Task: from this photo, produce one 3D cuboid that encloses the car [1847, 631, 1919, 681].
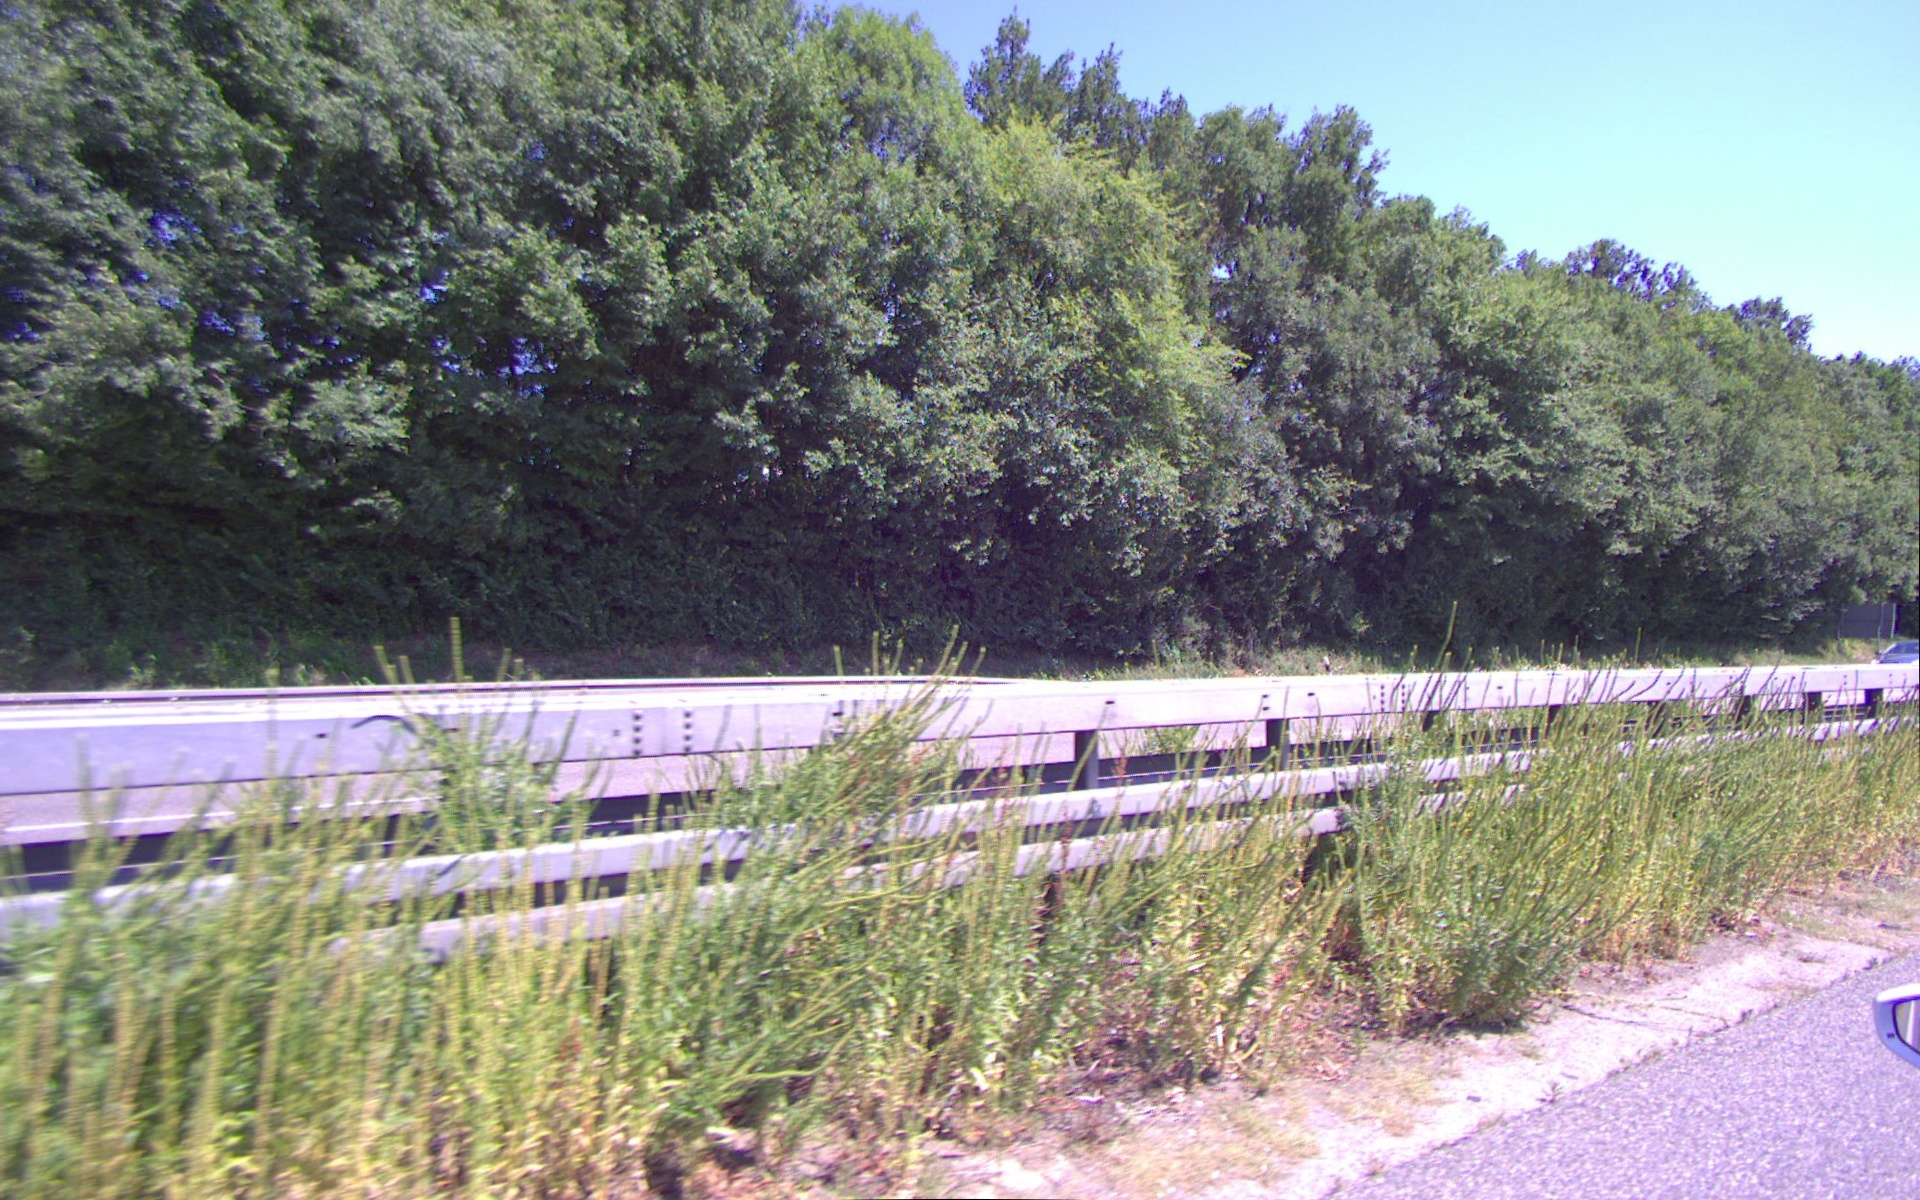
[{"bbox_3d":[31.014,1.788,32.609,4.667,1.539,1.984,1,-3,-31],"label":"car"}]
